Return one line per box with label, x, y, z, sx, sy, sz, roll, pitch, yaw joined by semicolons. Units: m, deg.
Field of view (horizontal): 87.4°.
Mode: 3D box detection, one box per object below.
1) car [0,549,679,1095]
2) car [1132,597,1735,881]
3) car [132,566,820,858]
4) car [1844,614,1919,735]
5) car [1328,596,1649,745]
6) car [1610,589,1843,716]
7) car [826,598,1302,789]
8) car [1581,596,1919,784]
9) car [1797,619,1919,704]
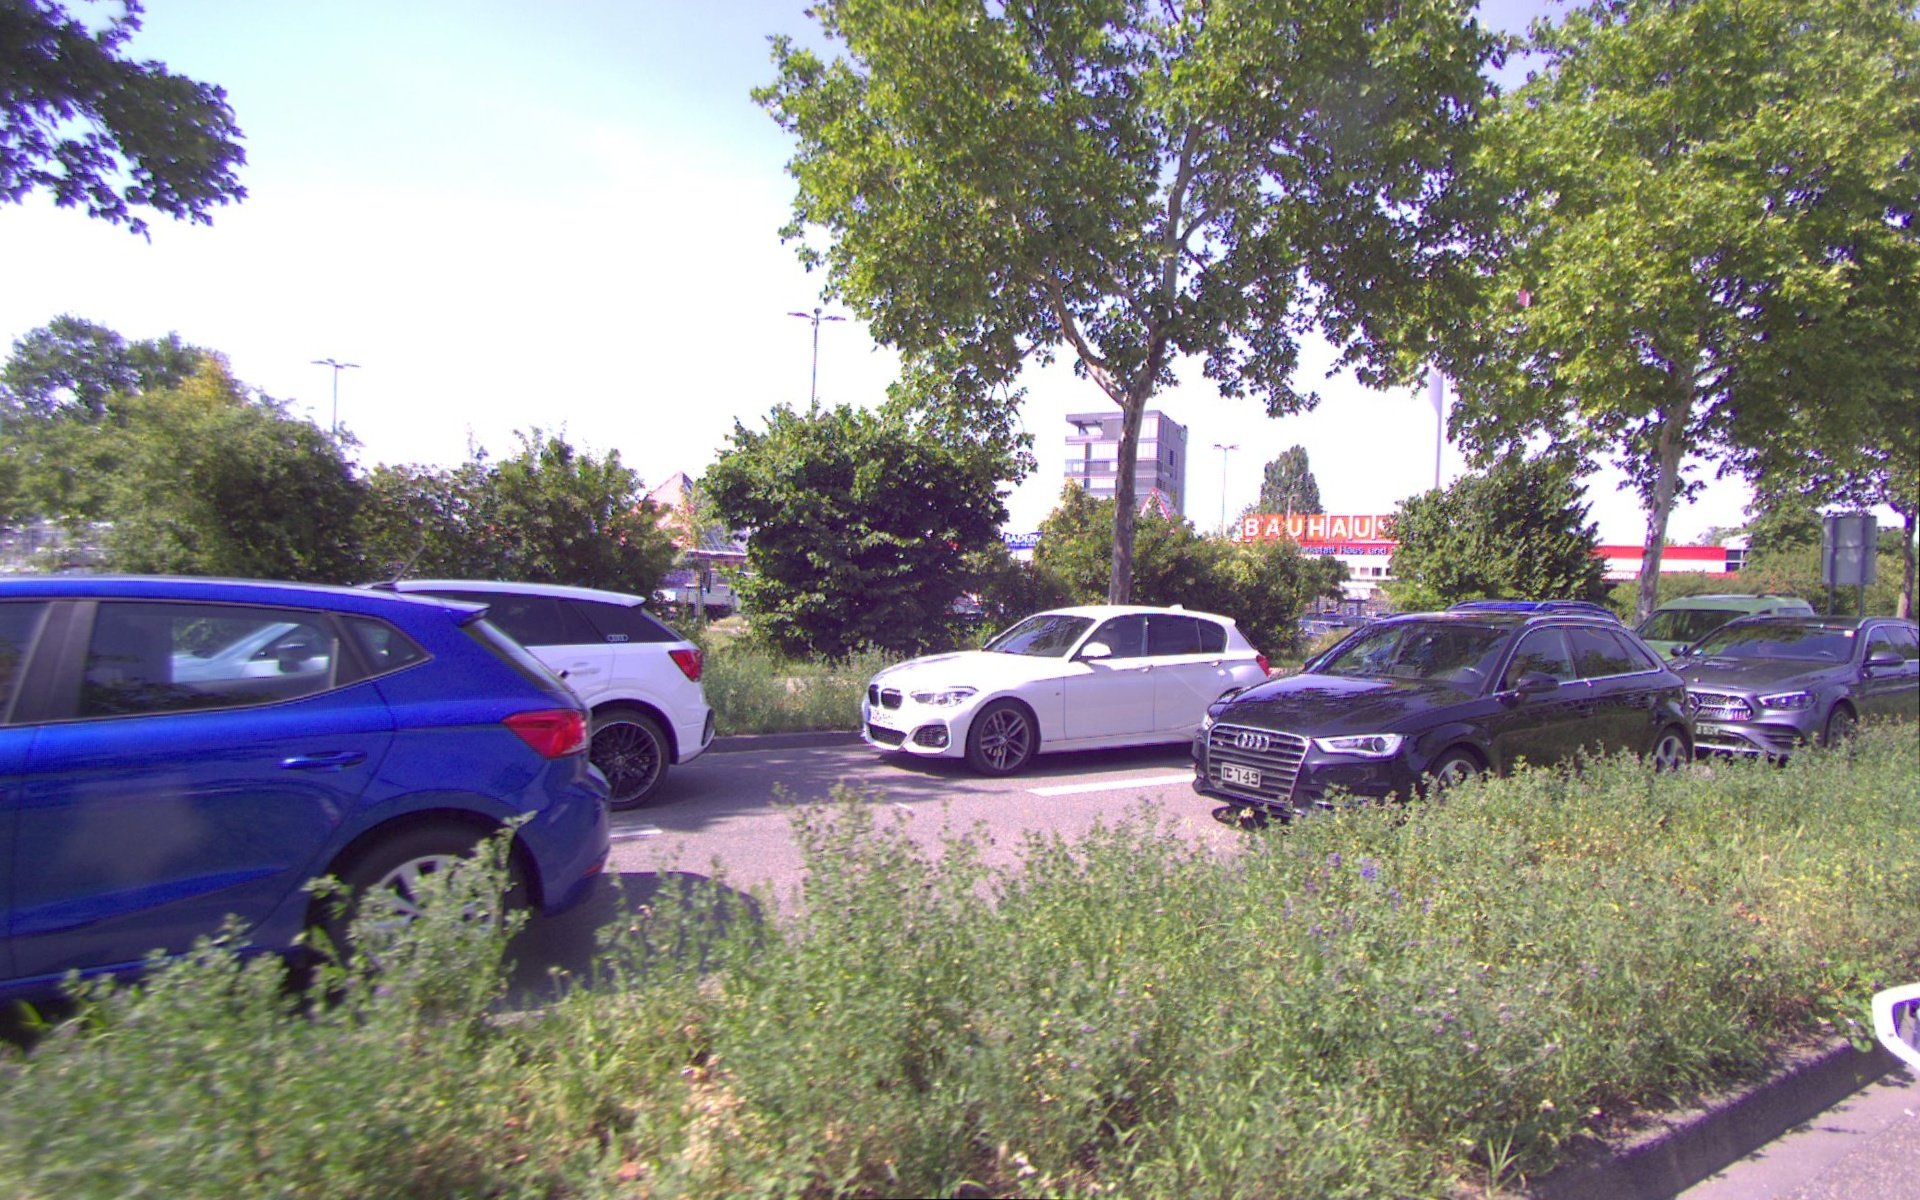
car;-3.283;0.605;3.421;4.164;1.509;1.775;1;0;-32
car;3.515;0.770;7.220;4.400;1.485;1.814;1;0;-32
car;-3.120;0.624;7.056;3.893;1.550;1.681;1;0;-30
car;14.465;1.009;14.036;4.586;1.550;1.804;1;0;-30
car;6.894;0.815;12.988;4.260;1.653;1.681;1;0;-30
car;12.730;0.832;16.634;3.989;1.883;1.681;2;0;-30
car;1.082;0.764;9.634;4.377;1.471;1.723;1;0;-30
car;8.978;0.821;10.781;4.949;1.629;1.838;1;0;-31
car;19.008;1.209;20.580;3.770;1.550;1.681;1;0;-30
